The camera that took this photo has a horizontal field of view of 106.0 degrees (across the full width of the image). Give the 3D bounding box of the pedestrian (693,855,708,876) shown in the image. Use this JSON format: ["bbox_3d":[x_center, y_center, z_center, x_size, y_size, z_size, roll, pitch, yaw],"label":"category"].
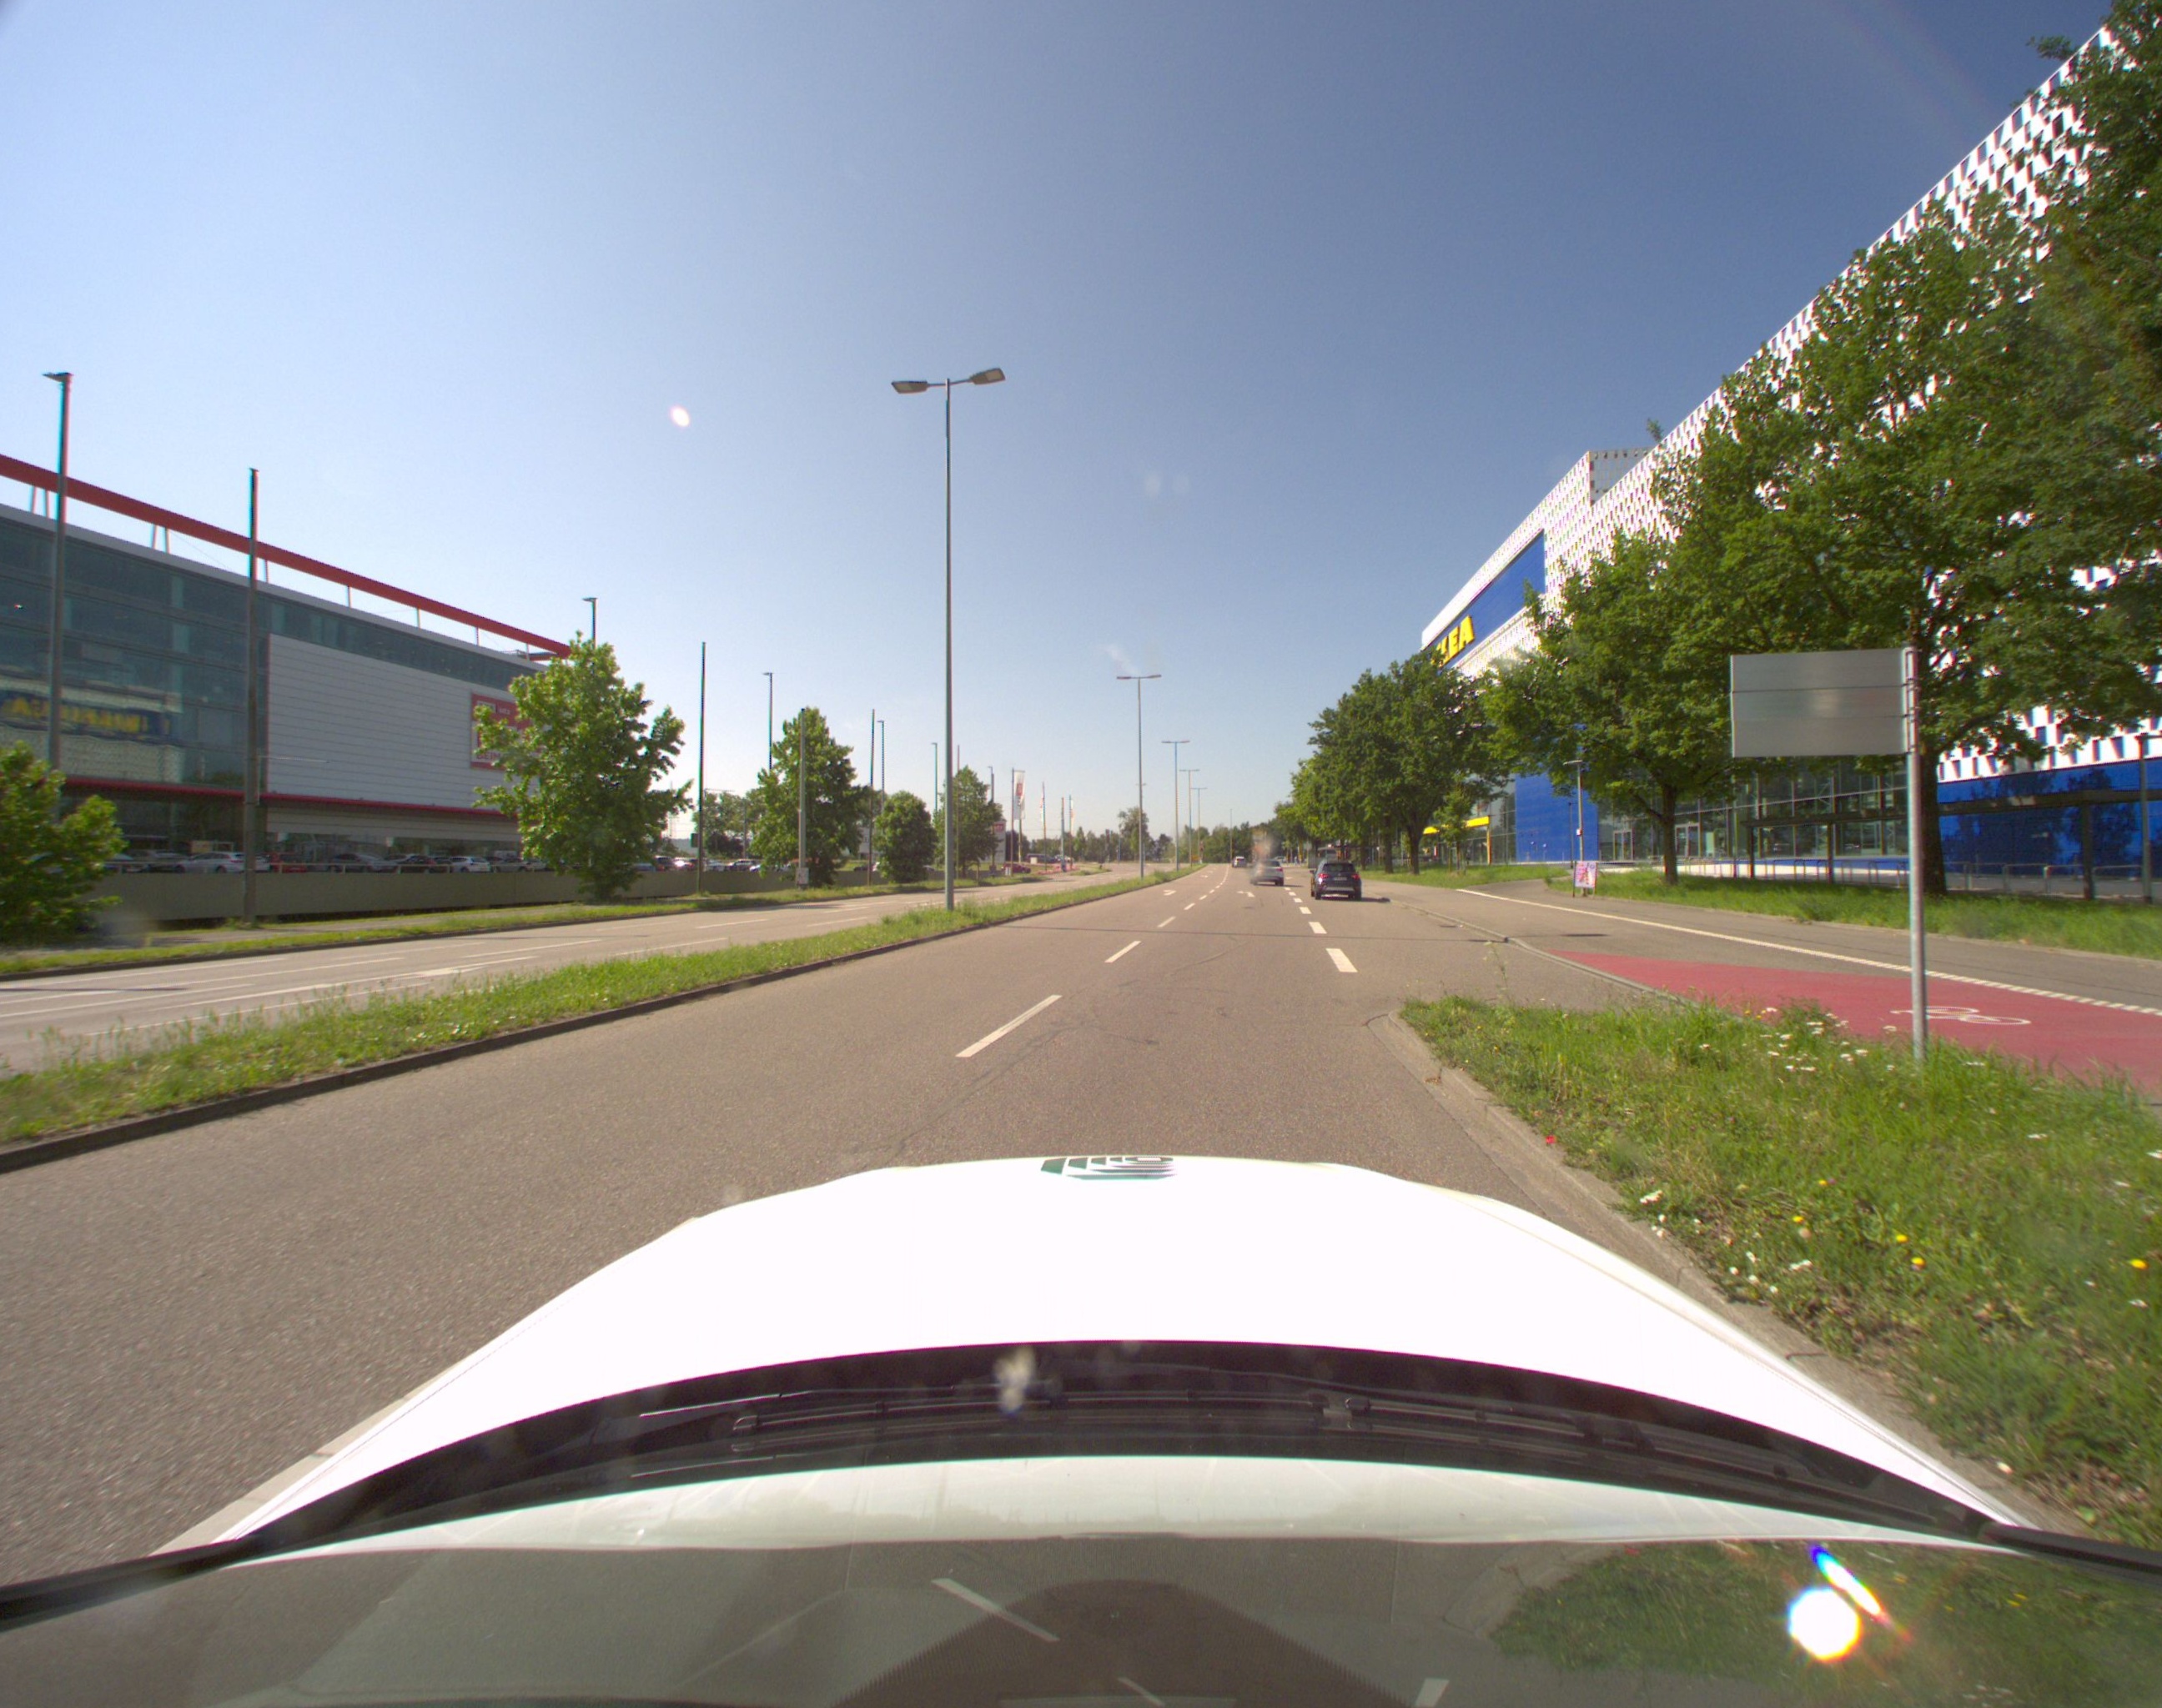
[{"bbox_3d":[-37.684,1.162,80.613,0.853,2.014,1.028,-2,-1,24],"label":"pedestrian"}]

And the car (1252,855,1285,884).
[{"bbox_3d":[10.924,0.899,47.693,1.621,1.498,3.880,0,2,9],"label":"car"}]

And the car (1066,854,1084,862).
[{"bbox_3d":[-1.116,0.771,154.483,3.326,1.500,1.412,0,-2,6],"label":"car"}]

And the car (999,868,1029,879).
[{"bbox_3d":[-9.829,2.821,119.900,4.162,1.606,1.829,0,-2,5],"label":"car"}]

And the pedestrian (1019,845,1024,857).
[{"bbox_3d":[-10.161,-0.540,138.986,0.711,1.972,0.921,-1,-2,14],"label":"pedestrian"}]

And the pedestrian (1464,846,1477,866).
[{"bbox_3d":[31.982,0.184,66.855,0.684,1.612,0.773,-1,0,6],"label":"pedestrian"}]

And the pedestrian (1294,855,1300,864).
[{"bbox_3d":[36.866,0.876,138.903,0.766,1.510,1.013,-1,1,21],"label":"pedestrian"}]

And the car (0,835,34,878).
[{"bbox_3d":[-40.704,0.119,29.826,2.750,1.556,1.779,-1,0,9],"label":"car"}]

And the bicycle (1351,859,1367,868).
[{"bbox_3d":[32.094,1.089,93.962,1.747,1.096,0.453,-1,0,10],"label":"bicycle"}]

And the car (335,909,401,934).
[{"bbox_3d":[-30.200,2.861,34.525,1.926,0.975,1.073,0,-2,7],"label":"car"}]

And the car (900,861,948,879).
[{"bbox_3d":[-16.055,1.631,83.435,4.386,1.843,1.950,-1,-1,9],"label":"car"}]

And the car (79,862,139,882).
[{"bbox_3d":[-49.063,0.922,41.122,1.926,0.975,1.073,-1,-1,7],"label":"car"}]

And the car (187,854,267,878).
[{"bbox_3d":[-48.403,0.681,46.158,3.195,1.330,1.519,0,-2,9],"label":"car"}]

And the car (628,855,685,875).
[{"bbox_3d":[-22.849,0.615,43.879,2.499,1.060,1.073,0,-2,7],"label":"car"}]

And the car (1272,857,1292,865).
[{"bbox_3d":[41.179,1.480,166.904,4.043,1.547,1.807,0,-1,14],"label":"car"}]

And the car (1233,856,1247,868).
[{"bbox_3d":[22.384,1.077,114.859,1.696,1.573,4.184,-1,0,9],"label":"car"}]

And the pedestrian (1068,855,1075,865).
[{"bbox_3d":[-1.513,0.952,135.411,0.832,1.707,0.910,-1,-1,22],"label":"pedestrian"}]

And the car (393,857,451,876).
[{"bbox_3d":[-47.040,0.933,58.134,3.069,1.330,1.519,0,-2,9],"label":"car"}]

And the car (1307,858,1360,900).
[{"bbox_3d":[9.886,0.938,32.081,1.659,1.523,3.387,0,0,11],"label":"car"}]

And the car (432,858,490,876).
[{"bbox_3d":[-46.113,0.983,60.612,3.069,1.330,1.708,0,-2,9],"label":"car"}]

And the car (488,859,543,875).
[{"bbox_3d":[-45.293,1.051,65.244,3.478,1.199,1.484,0,-2,9],"label":"car"}]

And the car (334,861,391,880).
[{"bbox_3d":[-51.799,1.184,58.724,3.116,1.330,1.304,0,-2,9],"label":"car"}]

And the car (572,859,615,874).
[{"bbox_3d":[-43.611,1.115,72.879,3.069,1.294,1.519,0,-2,9],"label":"car"}]

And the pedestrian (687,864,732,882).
[{"bbox_3d":[-40.916,2.107,89.767,1.974,2.014,4.024,-2,-2,41],"label":"pedestrian"}]

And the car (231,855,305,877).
[{"bbox_3d":[-48.916,0.733,49.031,3.195,1.330,1.519,0,-2,9],"label":"car"}]

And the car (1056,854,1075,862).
[{"bbox_3d":[-2.833,0.707,151.358,3.366,1.500,1.413,0,-2,8],"label":"car"}]

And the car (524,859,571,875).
[{"bbox_3d":[-44.524,1.092,67.991,3.069,1.330,1.519,0,-2,9],"label":"car"}]

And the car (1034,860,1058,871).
[{"bbox_3d":[-6.204,1.999,143.907,3.949,1.925,1.828,1,1,32],"label":"car"}]

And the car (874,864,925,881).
[{"bbox_3d":[-17.490,1.787,78.641,4.388,1.628,1.875,-1,-2,8],"label":"car"}]

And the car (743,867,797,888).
[{"bbox_3d":[-31.969,2.439,83.806,4.645,2.014,2.034,-1,0,6],"label":"car"}]
